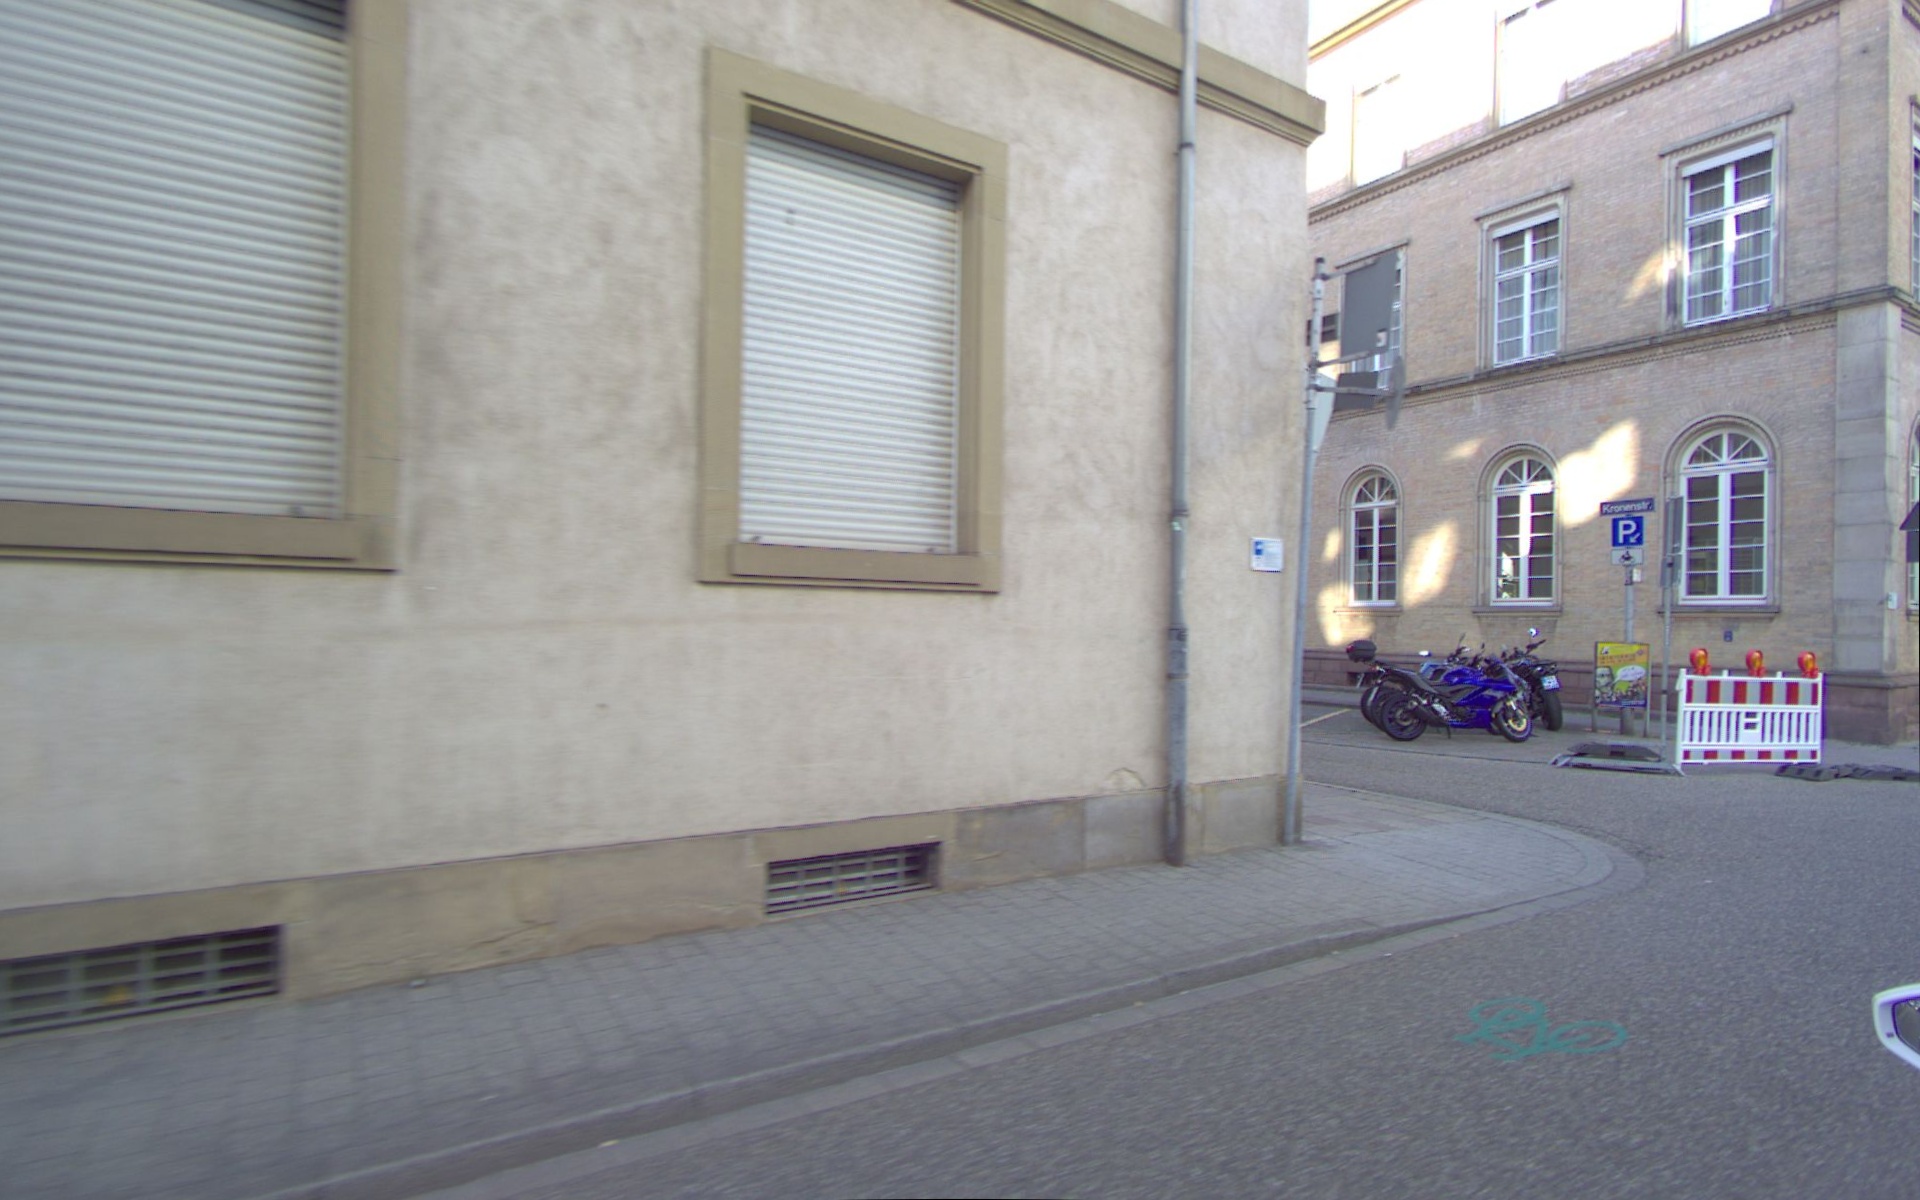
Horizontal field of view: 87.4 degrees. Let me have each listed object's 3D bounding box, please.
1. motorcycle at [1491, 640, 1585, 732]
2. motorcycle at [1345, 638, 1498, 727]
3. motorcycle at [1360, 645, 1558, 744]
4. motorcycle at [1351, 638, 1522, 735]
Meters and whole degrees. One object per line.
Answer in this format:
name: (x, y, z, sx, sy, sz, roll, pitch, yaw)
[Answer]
motorcycle: (8.444, 1.214, 14.762, 0.647, 1.189, 2.202, 0, -1, 15)
motorcycle: (7.093, 1.246, 15.525, 2.085, 1.291, 0.588, 0, -1, 14)
motorcycle: (6.507, 1.215, 13.193, 2.237, 1.189, 0.588, 0, 2, 10)
motorcycle: (6.807, 1.213, 14.454, 2.156, 1.311, 0.588, 0, -1, 15)
